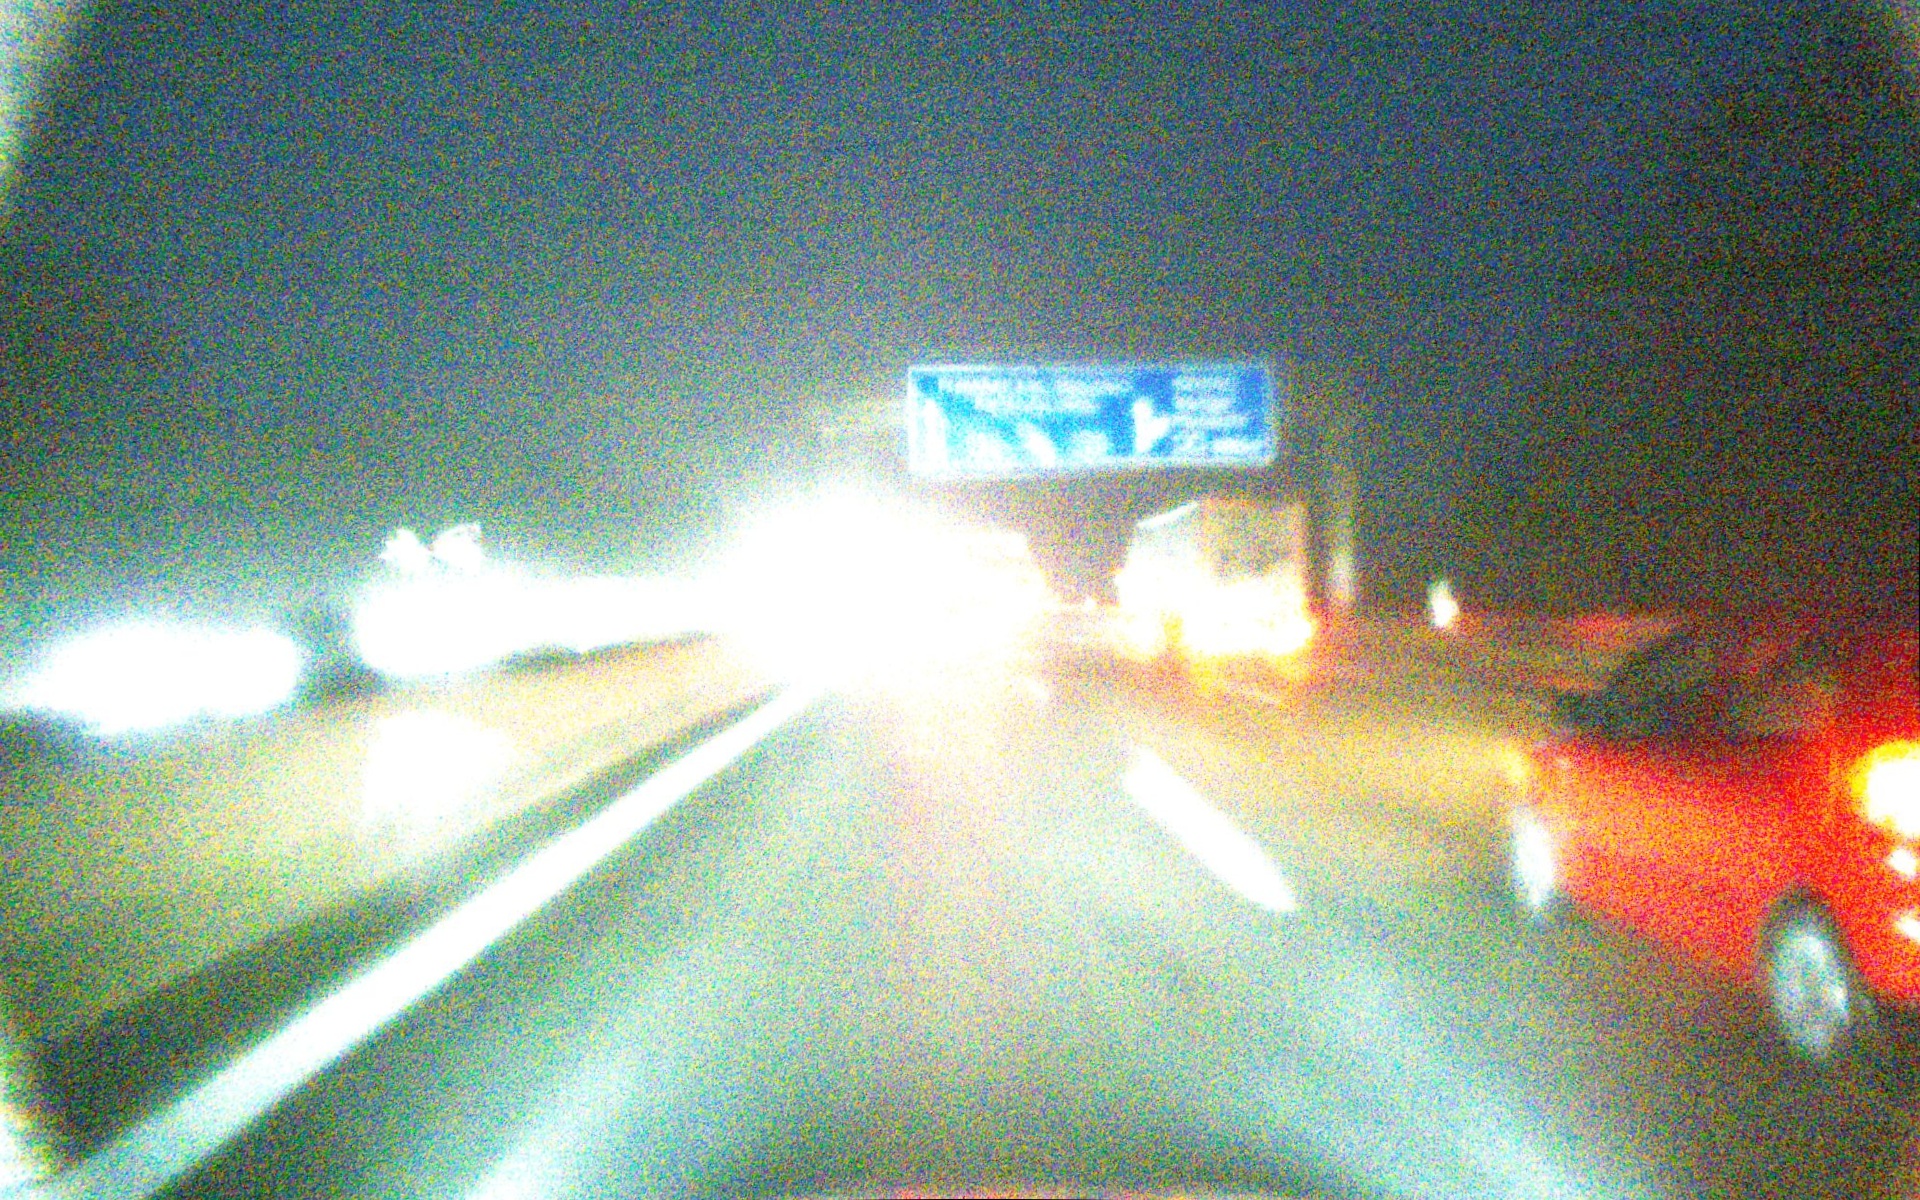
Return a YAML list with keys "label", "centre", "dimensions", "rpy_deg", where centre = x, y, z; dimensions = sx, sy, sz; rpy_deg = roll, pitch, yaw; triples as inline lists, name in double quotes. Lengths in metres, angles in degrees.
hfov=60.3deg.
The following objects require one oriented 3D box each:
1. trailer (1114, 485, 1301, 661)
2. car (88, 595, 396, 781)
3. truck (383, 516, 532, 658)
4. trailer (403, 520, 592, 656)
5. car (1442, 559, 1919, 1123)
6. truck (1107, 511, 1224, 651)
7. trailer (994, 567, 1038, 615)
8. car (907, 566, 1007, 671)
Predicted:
- label: "trailer"
  centre: [6.643, -0.636, 47.132]
  dimensions: [2.844, 4.180, 14.484]
  rpy_deg: [-2, 0, -1]
- label: "car"
  centre: [-8.831, 0.985, 20.828]
  dimensions: [1.953, 2.049, 4.450]
  rpy_deg: [-1, 0, -1]
- label: "truck"
  centre: [-16.972, -0.410, 56.358]
  dimensions: [2.913, 4.342, 6.503]
  rpy_deg: [4, 0, -1]
- label: "trailer"
  centre: [-17.086, -0.393, 62.605]
  dimensions: [2.913, 4.342, 14.859]
  rpy_deg: [4, 0, -1]
- label: "car"
  centre: [3.537, 0.703, 6.799]
  dimensions: [1.705, 1.603, 4.492]
  rpy_deg: [0, -1, -1]
- label: "truck"
  centre: [6.540, -0.574, 53.578]
  dimensions: [2.844, 4.180, 6.029]
  rpy_deg: [-2, 0, -1]
- label: "trailer"
  centre: [5.137, -0.739, 154.287]
  dimensions: [2.980, 4.180, 13.821]
  rpy_deg: [-2, -1, -2]
- label: "car"
  centre: [-0.105, 0.413, 34.844]
  dimensions: [1.953, 2.049, 3.998]
  rpy_deg: [1, -1, -1]
